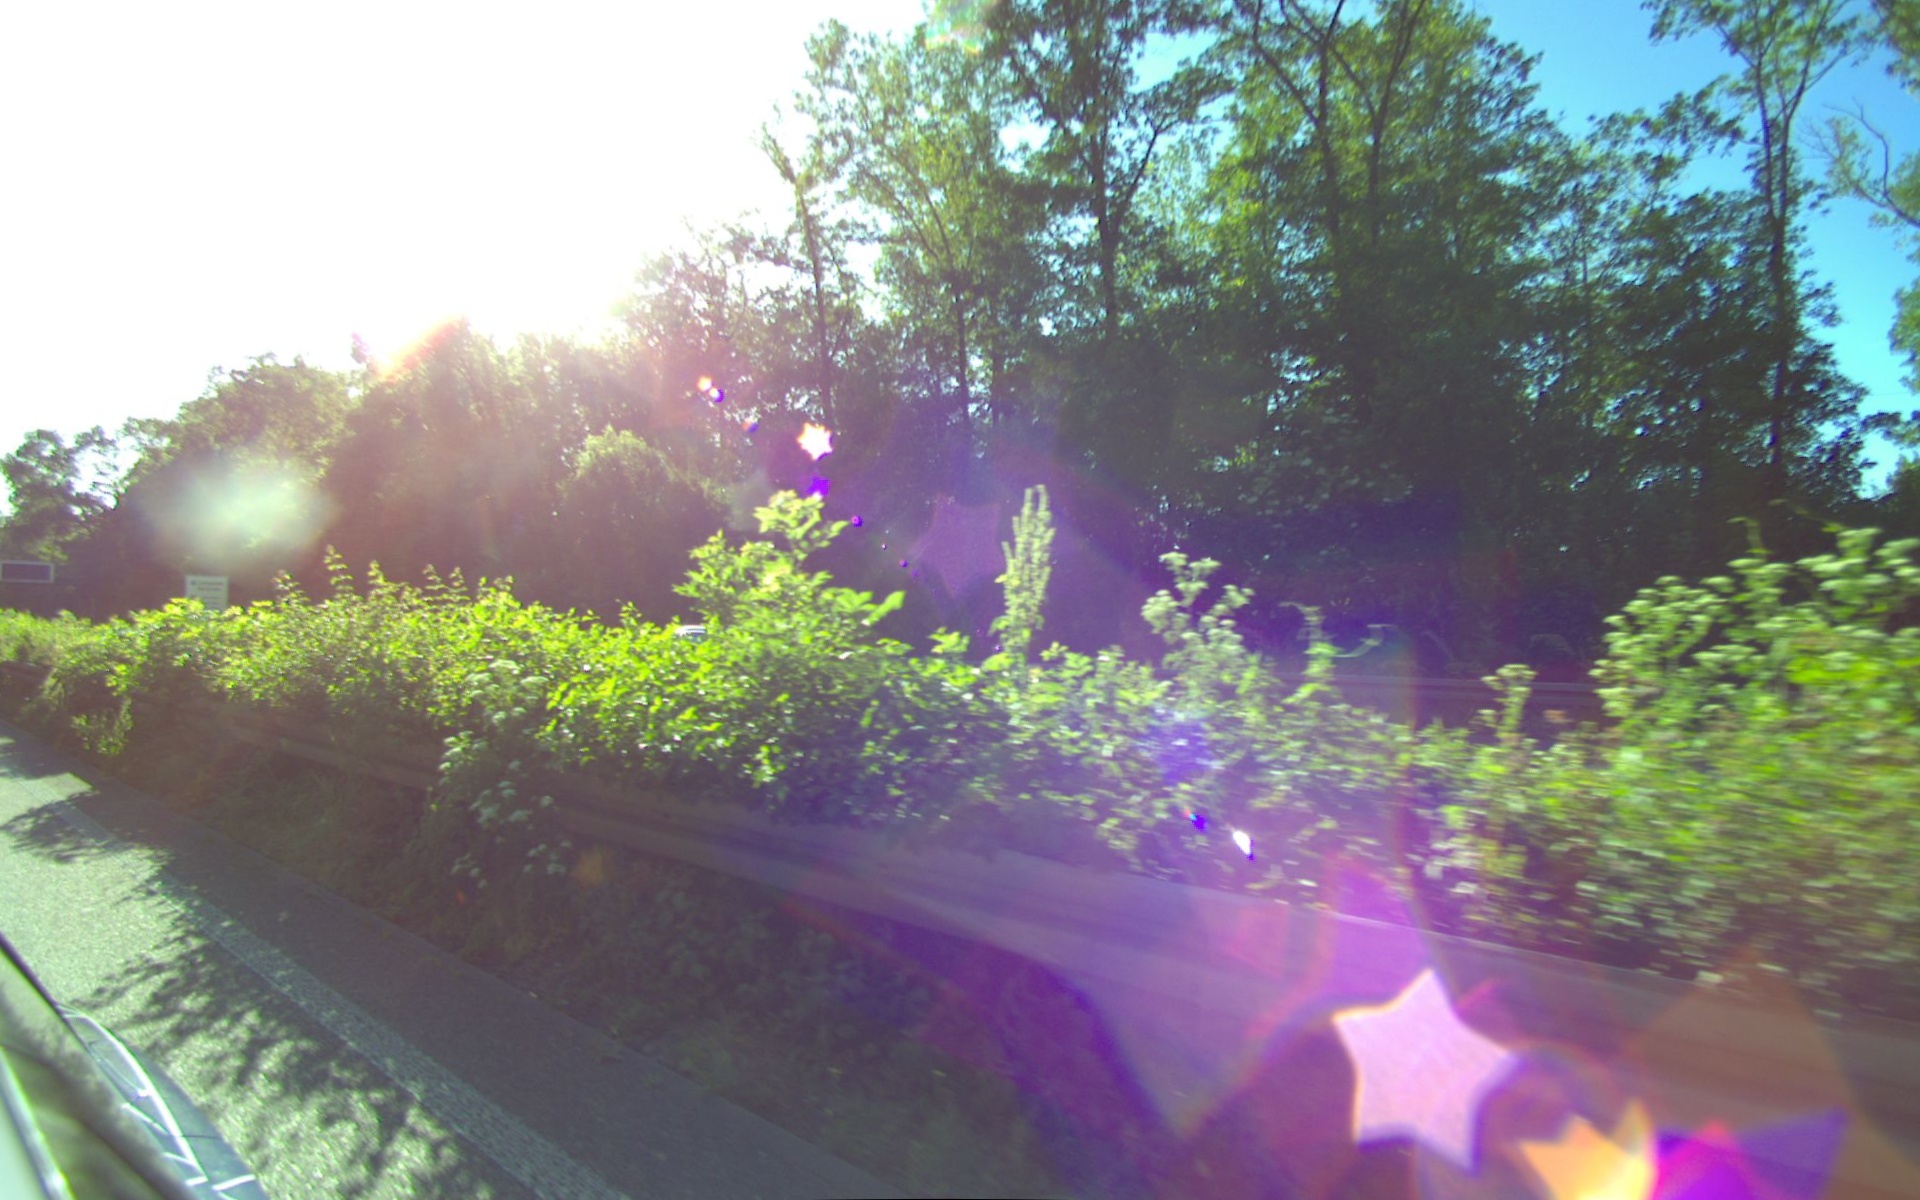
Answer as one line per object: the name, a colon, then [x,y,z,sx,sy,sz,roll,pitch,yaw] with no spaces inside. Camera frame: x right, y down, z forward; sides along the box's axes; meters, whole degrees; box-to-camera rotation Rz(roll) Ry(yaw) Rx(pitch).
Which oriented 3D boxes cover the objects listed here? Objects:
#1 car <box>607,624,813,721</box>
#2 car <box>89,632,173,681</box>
car: [-4.802,1.275,19.184,3.998,1.586,1.828,-1,0,41]
car: [-30.958,2.054,37.733,4.583,1.617,1.695,-1,0,41]
